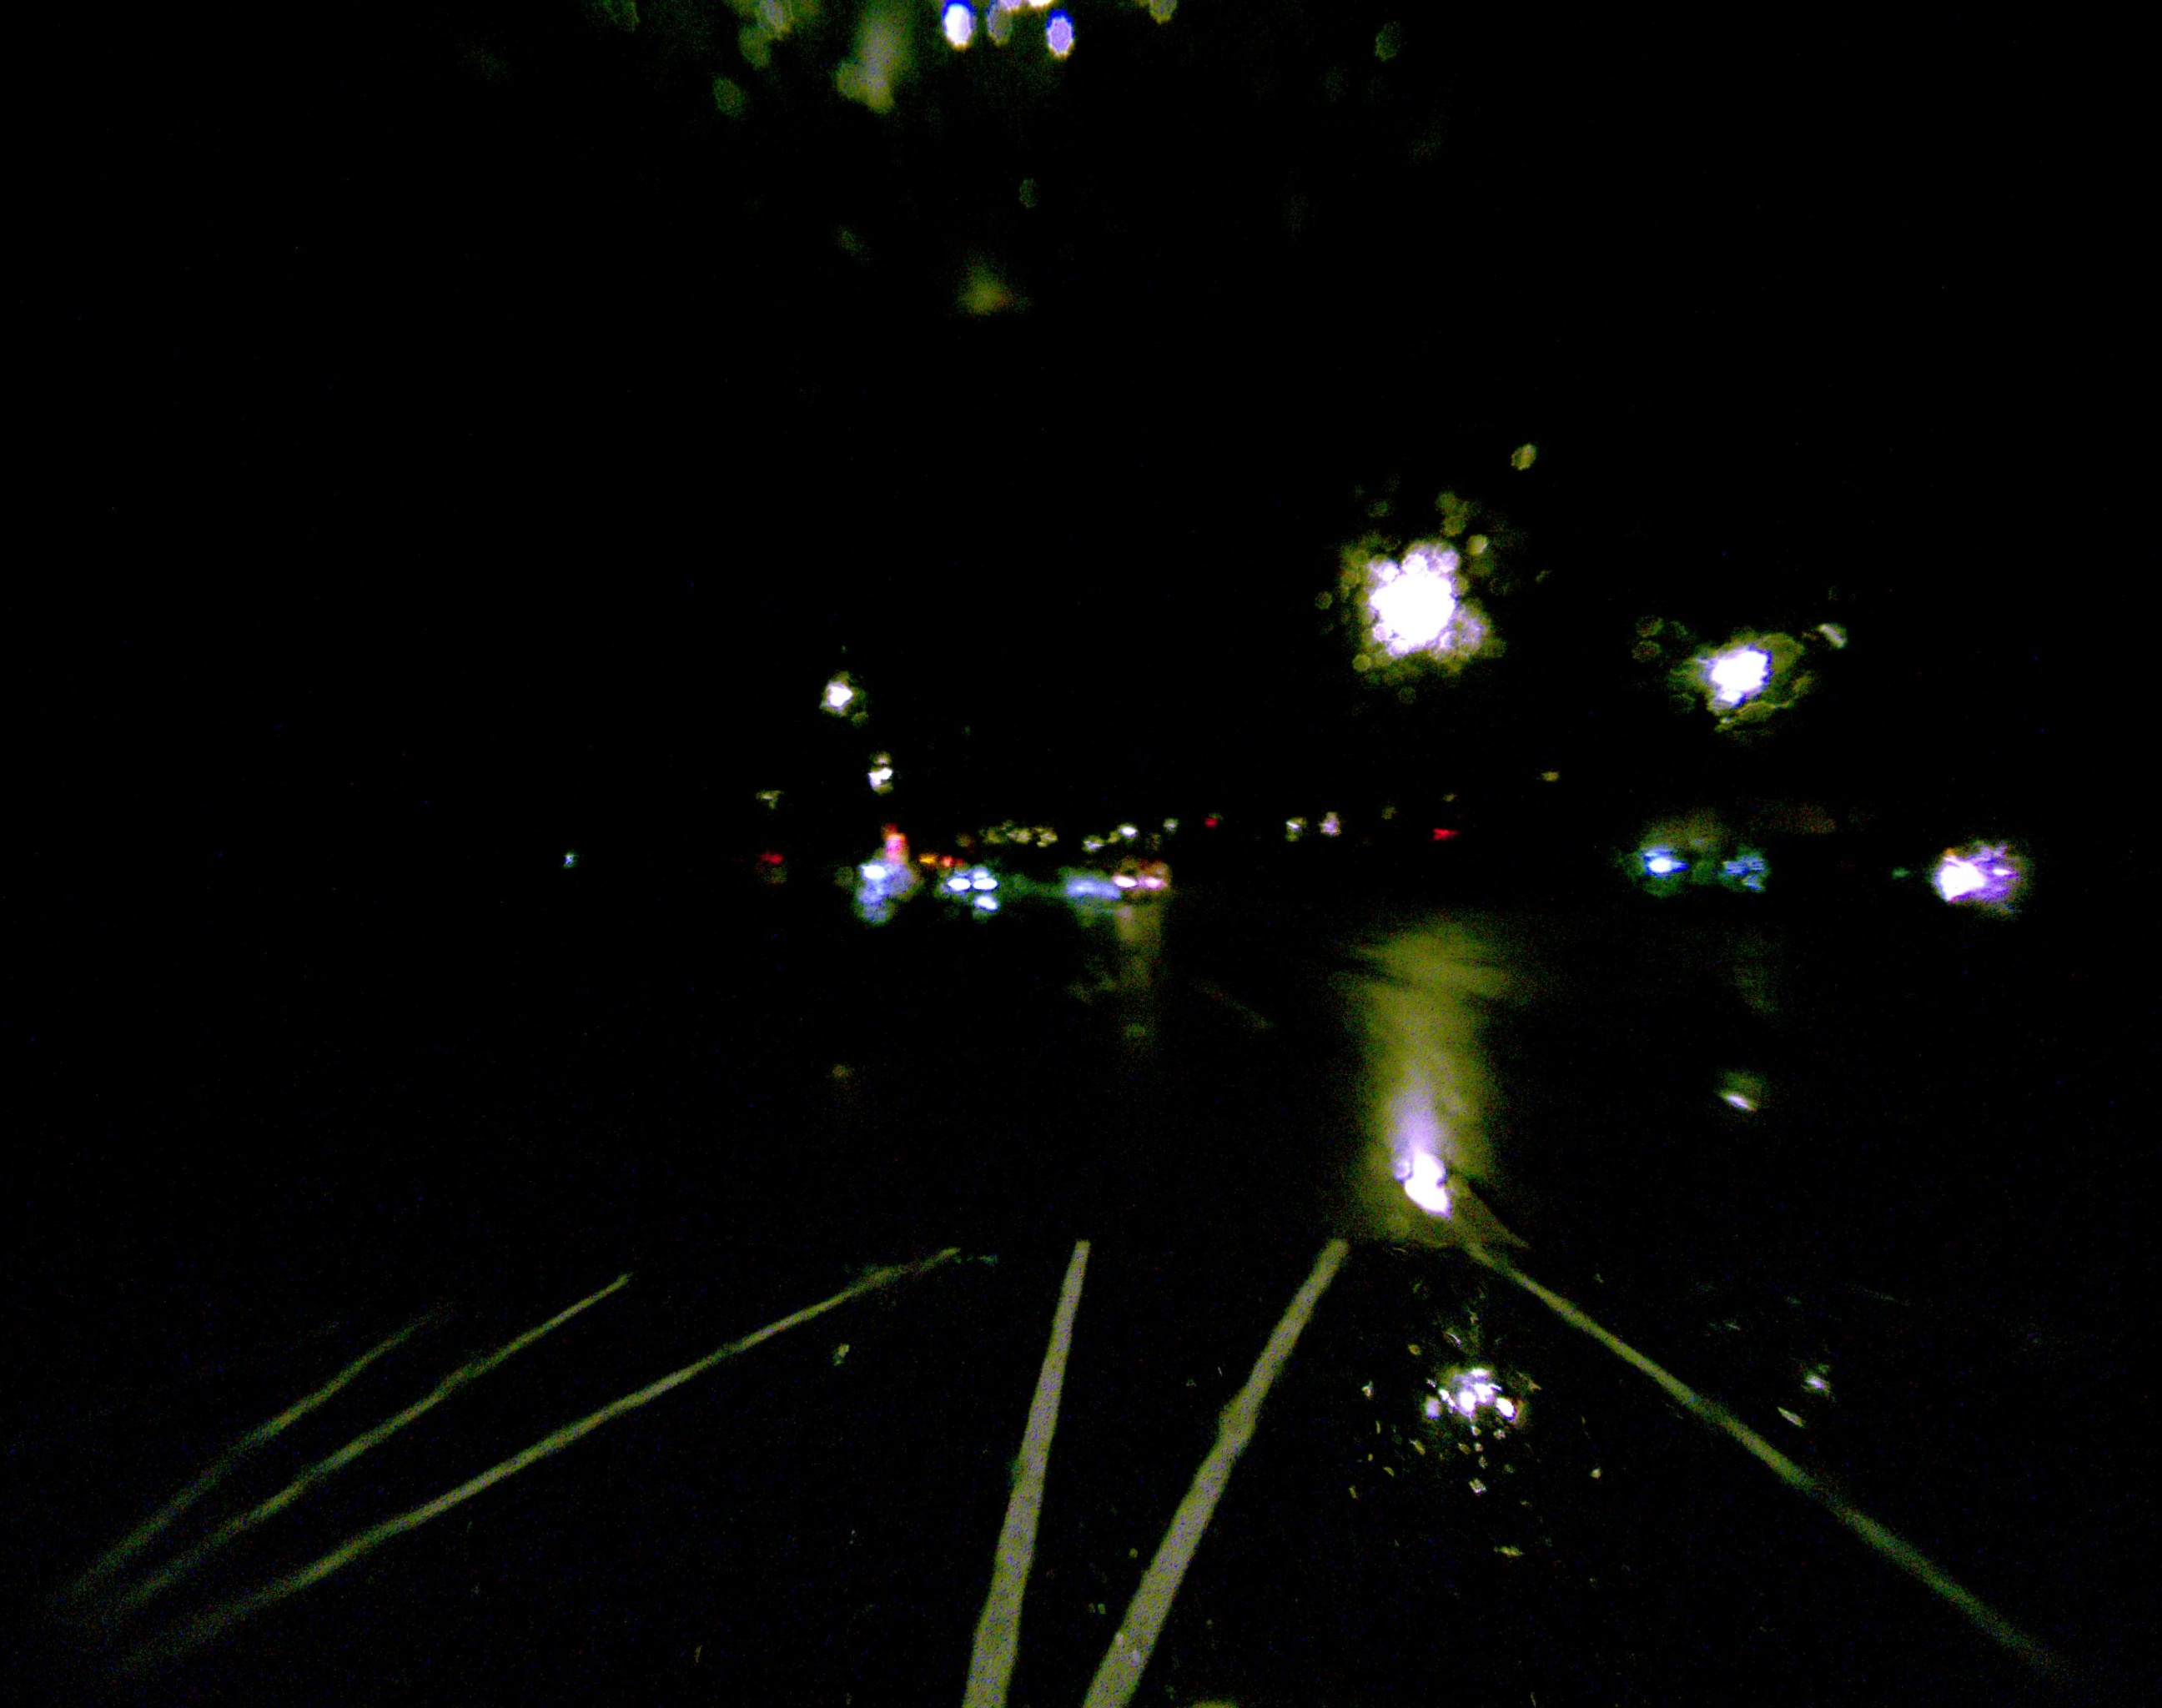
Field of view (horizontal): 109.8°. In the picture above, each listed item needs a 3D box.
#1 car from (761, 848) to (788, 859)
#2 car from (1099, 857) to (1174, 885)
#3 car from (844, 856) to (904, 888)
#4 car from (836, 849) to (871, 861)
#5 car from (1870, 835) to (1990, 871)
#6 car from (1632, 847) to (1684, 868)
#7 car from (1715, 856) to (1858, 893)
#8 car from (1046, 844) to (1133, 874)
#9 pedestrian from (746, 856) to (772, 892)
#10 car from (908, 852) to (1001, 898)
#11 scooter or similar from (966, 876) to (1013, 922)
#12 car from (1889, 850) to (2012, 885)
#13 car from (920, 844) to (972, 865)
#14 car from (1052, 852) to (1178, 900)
[{"bbox_3d":[-41.943,-0.052,103.921,1.838,1.456,4.645,-3,2,-41],"label":"car"},{"bbox_3d":[3.807,1.126,52.680,5.025,1.706,2.074,0,2,43],"label":"car"},{"bbox_3d":[-12.351,1.009,45.107,1.838,1.697,4.182,-3,2,-39],"label":"car"},{"bbox_3d":[-26.927,0.094,89.786,2.004,1.394,5.334,-3,2,-41],"label":"car"},{"bbox_3d":[51.317,-0.124,46.052,2.000,2.002,4.416,-1,2,-12],"label":"car"},{"bbox_3d":[46.895,0.278,61.843,1.677,1.521,4.001,-1,2,8],"label":"car"},{"bbox_3d":[29.194,0.828,31.594,3.938,1.365,1.832,0,2,22],"label":"car"},{"bbox_3d":[0.510,0.303,47.064,5.116,1.722,2.067,0,2,37],"label":"car"},{"bbox_3d":[-13.451,0.821,31.736,0.729,1.477,0.833,-3,3,-40],"label":"pedestrian"},{"bbox_3d":[-5.464,0.824,32.497,1.955,1.710,4.429,-3,2,-39],"label":"car"},{"bbox_3d":[-2.243,1.095,18.659,1.105,1.091,0.317,1,2,-11],"label":"scooter or similar"},{"bbox_3d":[43.346,0.624,38.020,1.758,1.565,4.000,-1,2,4],"label":"car"},{"bbox_3d":[-11.863,0.041,66.483,2.074,1.706,5.025,-3,2,-42],"label":"car"},{"bbox_3d":[1.161,0.742,28.085,1.838,1.518,4.860,-3,2,-39],"label":"car"}]
